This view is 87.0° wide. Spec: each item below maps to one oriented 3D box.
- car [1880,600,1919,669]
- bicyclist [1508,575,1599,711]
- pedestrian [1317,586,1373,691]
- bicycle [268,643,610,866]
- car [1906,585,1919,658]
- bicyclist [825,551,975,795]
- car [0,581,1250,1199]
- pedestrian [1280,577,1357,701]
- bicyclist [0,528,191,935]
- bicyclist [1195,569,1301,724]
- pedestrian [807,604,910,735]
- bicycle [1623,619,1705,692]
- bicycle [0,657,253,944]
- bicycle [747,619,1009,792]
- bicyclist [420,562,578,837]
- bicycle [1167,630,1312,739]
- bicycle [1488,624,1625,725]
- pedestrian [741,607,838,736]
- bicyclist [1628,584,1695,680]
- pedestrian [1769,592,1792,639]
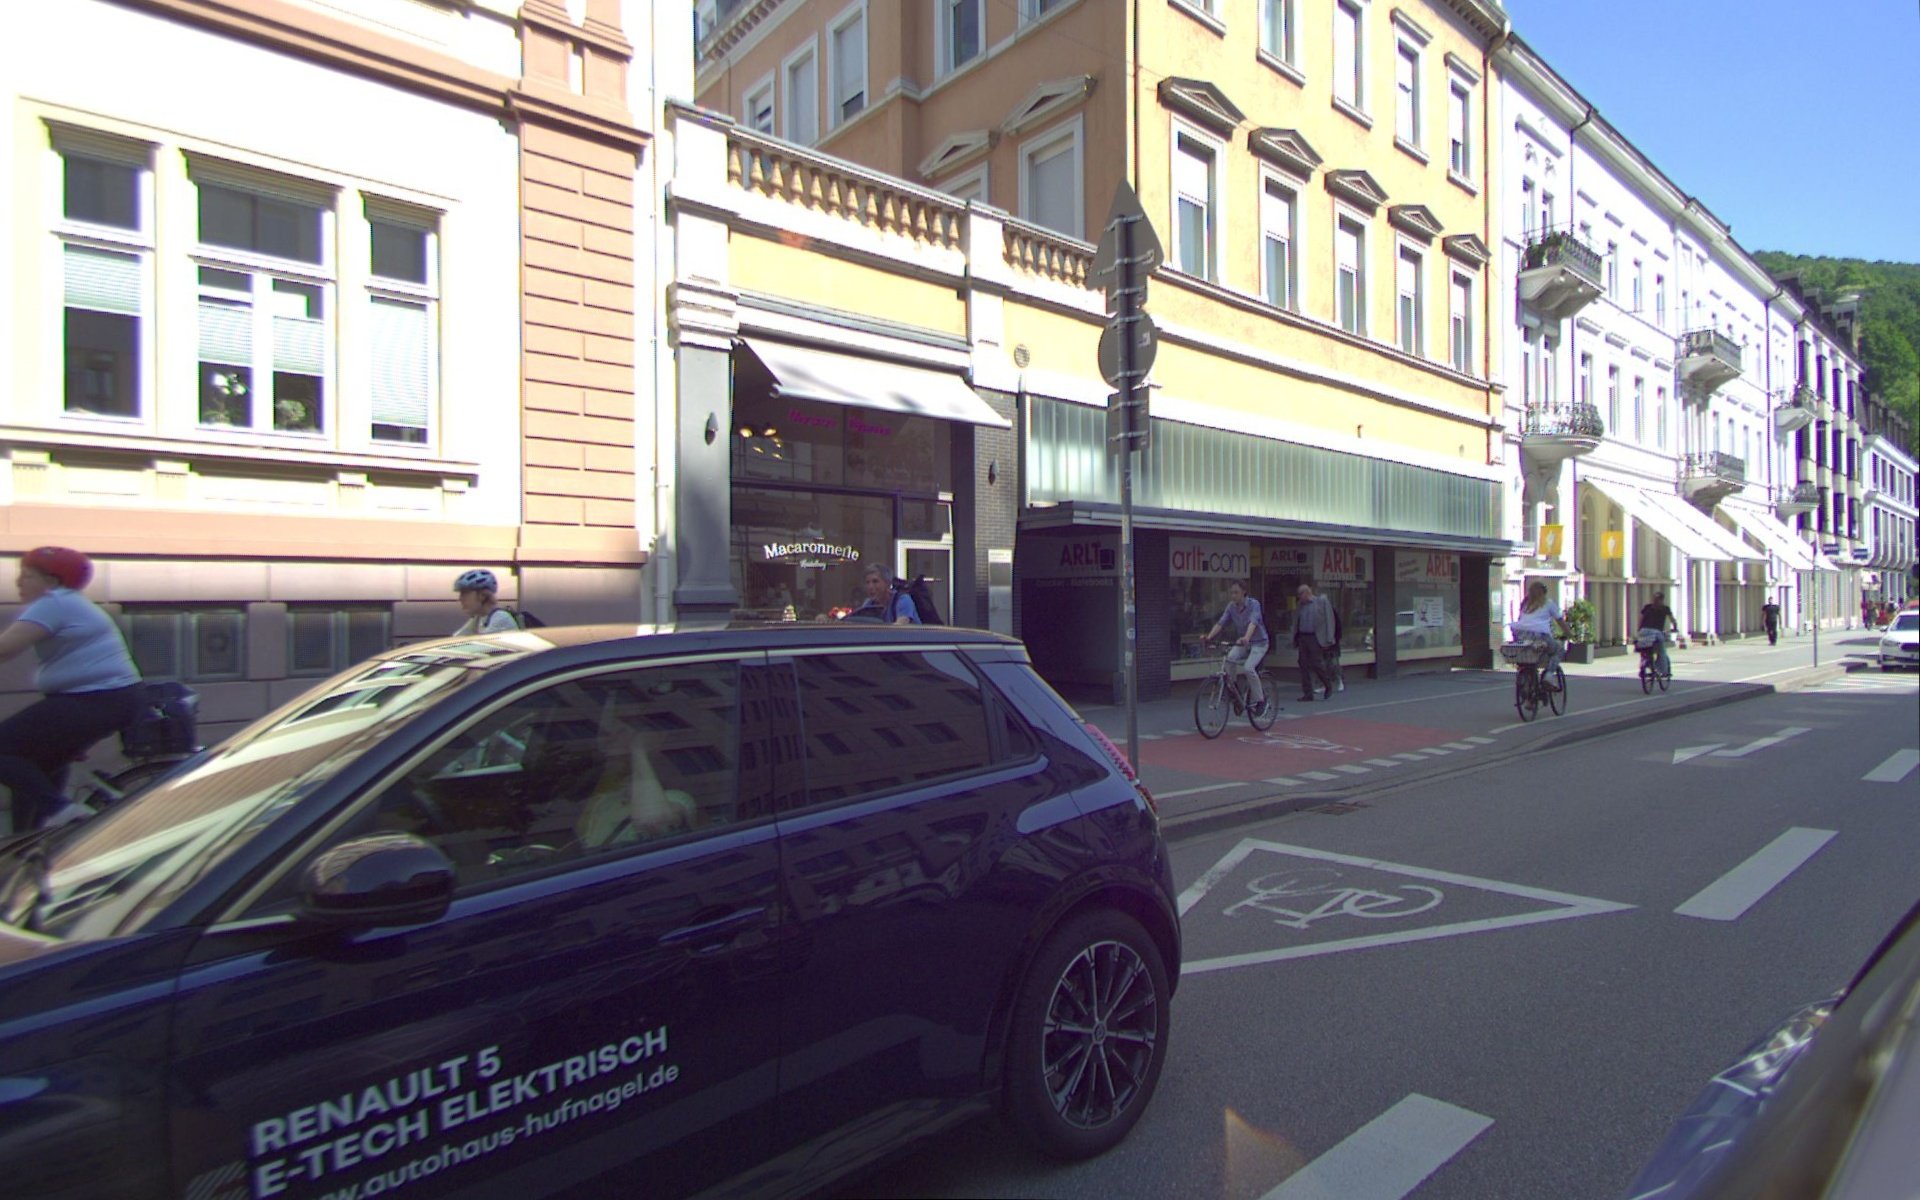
[{"bbox_3d":[23.761,0.770,24.471,4.192,1.544,1.795,-1,-3,-43],"label":"car"},{"bbox_3d":[7.892,0.538,13.449,1.017,1.724,0.747,0,0,-40],"label":"bicyclist"},{"bbox_3d":[6.422,0.620,16.870,0.829,1.686,0.522,-1,0,-40],"label":"pedestrian"},{"bbox_3d":[-3.227,0.885,6.376,1.826,1.141,0.607,0,1,-39],"label":"bicycle"},{"bbox_3d":[27.901,0.561,28.272,4.528,1.938,1.700,1,-6,-43],"label":"car"},{"bbox_3d":[-0.465,0.513,7.811,0.829,1.739,0.840,0,0,-40],"label":"bicyclist"},{"bbox_3d":[-1.301,0.776,2.570,4.216,1.511,1.888,-1,-2,-41],"label":"car"},{"bbox_3d":[5.446,0.567,15.389,0.754,1.814,0.840,0,0,-40],"label":"pedestrian"},{"bbox_3d":[-4.139,0.560,4.742,0.829,1.739,0.684,0,-1,-40],"label":"bicyclist"},{"bbox_3d":[3.407,0.511,11.984,0.830,1.739,0.909,0,0,-42],"label":"bicyclist"},{"bbox_3d":[-1.147,0.732,11.299,0.614,1.332,1.088,0,2,-41],"label":"pedestrian"},{"bbox_3d":[12.098,0.921,17.377,2.056,1.141,0.596,0,1,-39],"label":"bicycle"},{"bbox_3d":[-4.393,0.883,4.507,1.997,1.141,0.737,0,1,-39],"label":"bicycle"},{"bbox_3d":[-0.579,0.726,7.690,1.956,1.132,0.664,0,0,-39],"label":"bicycle"},{"bbox_3d":[-2.987,0.595,6.564,0.829,1.657,0.516,0,0,-40],"label":"bicyclist"},{"bbox_3d":[3.313,0.945,11.902,1.885,1.132,0.747,0,0,-42],"label":"bicycle"},{"bbox_3d":[8.027,0.945,13.567,2.527,1.141,0.743,-1,1,-39],"label":"bicycle"},{"bbox_3d":[-1.892,0.746,11.148,0.614,1.333,1.031,0,0,-41],"label":"pedestrian"},{"bbox_3d":[11.960,0.518,17.251,0.829,1.593,0.747,0,0,-40],"label":"bicyclist"},{"bbox_3d":[29.389,0.545,36.242,0.853,1.690,0.482,0,-1,-41],"label":"pedestrian"}]
